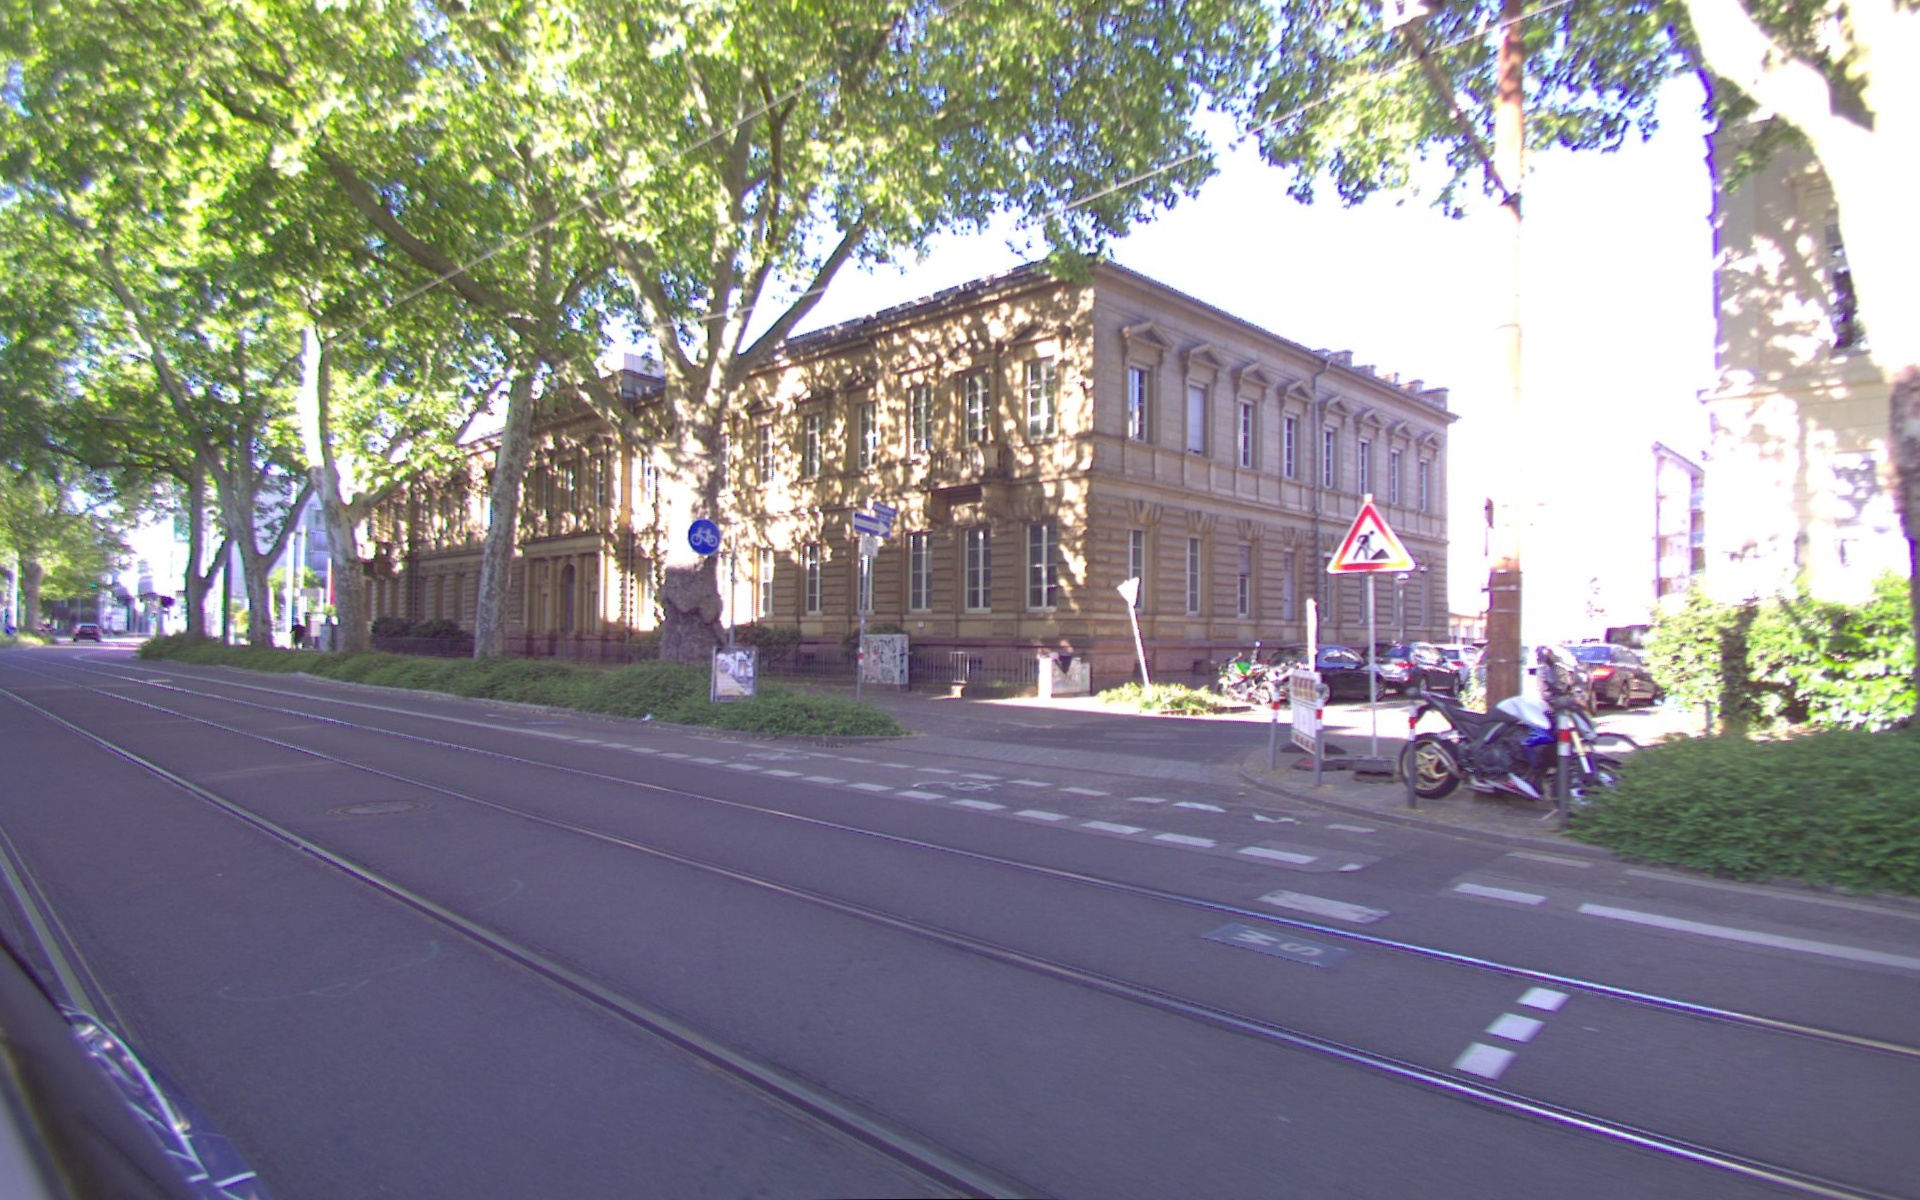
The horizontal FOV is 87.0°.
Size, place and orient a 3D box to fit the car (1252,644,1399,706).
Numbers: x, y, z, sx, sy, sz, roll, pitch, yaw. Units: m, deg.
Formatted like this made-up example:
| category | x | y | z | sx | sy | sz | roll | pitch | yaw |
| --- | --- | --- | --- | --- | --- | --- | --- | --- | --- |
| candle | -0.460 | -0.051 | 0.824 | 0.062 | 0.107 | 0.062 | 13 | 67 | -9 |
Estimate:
| category | x | y | z | sx | sy | sz | roll | pitch | yaw |
| --- | --- | --- | --- | --- | --- | --- | --- | --- | --- |
| car | 9.339 | 1.842 | 25.740 | 3.871 | 1.342 | 1.850 | 0 | -1 | -41 |

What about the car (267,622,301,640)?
| category | x | y | z | sx | sy | sz | roll | pitch | yaw |
| --- | --- | --- | --- | --- | --- | --- | --- | --- | --- |
| car | -67.232 | 3.072 | 100.638 | 3.998 | 1.831 | 1.828 | -1 | -2 | 41 |

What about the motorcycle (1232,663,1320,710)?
| category | x | y | z | sx | sy | sz | roll | pitch | yaw |
| --- | --- | --- | --- | --- | --- | --- | --- | --- | --- |
| motorcycle | 7.490 | 2.029 | 24.072 | 0.710 | 0.984 | 1.959 | 0 | -1 | -36 |

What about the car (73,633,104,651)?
| category | x | y | z | sx | sy | sz | roll | pitch | yaw |
| --- | --- | --- | --- | --- | --- | --- | --- | --- | --- |
| car | -78.645 | 3.813 | 91.293 | 1.845 | 1.642 | 4.563 | 3 | -4 | -44 |

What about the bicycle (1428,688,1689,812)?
| category | x | y | z | sx | sy | sz | roll | pitch | yaw |
| --- | --- | --- | --- | --- | --- | --- | --- | --- | --- |
| bicycle | 5.537 | 1.347 | 9.499 | 0.534 | 0.948 | 2.037 | 2 | -3 | -41 |

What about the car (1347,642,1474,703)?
| category | x | y | z | sx | sy | sz | roll | pitch | yaw |
| --- | --- | --- | --- | --- | --- | --- | --- | --- | --- |
| car | 12.794 | 1.991 | 28.644 | 3.872 | 1.502 | 1.850 | 0 | -1 | -42 |

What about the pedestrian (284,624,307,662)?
| category | x | y | z | sx | sy | sz | roll | pitch | yaw |
| --- | --- | --- | --- | --- | --- | --- | --- | --- | --- |
| pedestrian | -33.257 | 2.133 | 50.646 | 0.837 | 1.863 | 0.711 | -1 | -3 | 42 |

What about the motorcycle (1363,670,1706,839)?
| category | x | y | z | sx | sy | sz | roll | pitch | yaw |
| --- | --- | --- | --- | --- | --- | --- | --- | --- | --- |
| motorcycle | 4.822 | 1.225 | 8.682 | 0.873 | 1.156 | 2.394 | 2 | -3 | -41 |

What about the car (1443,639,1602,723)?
| category | x | y | z | sx | sy | sz | roll | pitch | yaw |
| --- | --- | --- | --- | --- | --- | --- | --- | --- | --- |
| car | 10.773 | 1.526 | 19.287 | 1.694 | 1.429 | 3.734 | -6 | -6 | 44 |

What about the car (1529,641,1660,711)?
| category | x | y | z | sx | sy | sz | roll | pitch | yaw |
| --- | --- | --- | --- | --- | --- | --- | --- | --- | --- |
| car | 14.319 | 1.684 | 22.749 | 1.695 | 1.429 | 3.875 | -4 | -5 | 44 |

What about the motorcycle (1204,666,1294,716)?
| category | x | y | z | sx | sy | sz | roll | pitch | yaw |
| --- | --- | --- | --- | --- | --- | --- | --- | --- | --- |
| motorcycle | 6.619 | 2.065 | 23.250 | 0.710 | 0.984 | 1.959 | 0 | -1 | -36 |

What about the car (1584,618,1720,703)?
| category | x | y | z | sx | sy | sz | roll | pitch | yaw |
| --- | --- | --- | --- | --- | --- | --- | --- | --- | --- |
| car | 18.072 | 1.603 | 26.342 | 4.355 | 2.018 | 2.016 | 3 | -6 | -45 |

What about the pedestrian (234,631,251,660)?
| category | x | y | z | sx | sy | sz | roll | pitch | yaw |
| --- | --- | --- | --- | --- | --- | --- | --- | --- | --- |
| pedestrian | -43.569 | 2.753 | 61.488 | 0.655 | 1.710 | 0.628 | -1 | -2 | 34 |

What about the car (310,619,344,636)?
| category | x | y | z | sx | sy | sz | roll | pitch | yaw |
| --- | --- | --- | --- | --- | --- | --- | --- | --- | --- |
| car | -64.484 | 2.803 | 103.028 | 3.998 | 1.765 | 1.828 | -1 | -2 | 41 |

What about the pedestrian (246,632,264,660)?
| category | x | y | z | sx | sy | sz | roll | pitch | yaw |
| --- | --- | --- | --- | --- | --- | --- | --- | --- | --- |
| pedestrian | -43.211 | 2.791 | 62.050 | 0.660 | 1.710 | 0.665 | -1 | -2 | 34 |

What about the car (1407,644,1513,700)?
| category | x | y | z | sx | sy | sz | roll | pitch | yaw |
| --- | --- | --- | --- | --- | --- | --- | --- | --- | --- |
| car | 16.101 | 2.259 | 32.542 | 3.872 | 1.561 | 1.713 | 0 | -1 | -42 |

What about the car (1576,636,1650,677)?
| category | x | y | z | sx | sy | sz | roll | pitch | yaw |
| --- | --- | --- | --- | --- | --- | --- | --- | --- | --- |
| car | 28.900 | 2.446 | 44.739 | 3.873 | 1.649 | 1.850 | 0 | -1 | -43 |

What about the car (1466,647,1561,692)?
| category | x | y | z | sx | sy | sz | roll | pitch | yaw |
| --- | --- | --- | --- | --- | --- | --- | --- | --- | --- |
| car | 19.402 | 2.403 | 35.443 | 3.872 | 1.342 | 1.704 | 0 | -1 | -42 |
